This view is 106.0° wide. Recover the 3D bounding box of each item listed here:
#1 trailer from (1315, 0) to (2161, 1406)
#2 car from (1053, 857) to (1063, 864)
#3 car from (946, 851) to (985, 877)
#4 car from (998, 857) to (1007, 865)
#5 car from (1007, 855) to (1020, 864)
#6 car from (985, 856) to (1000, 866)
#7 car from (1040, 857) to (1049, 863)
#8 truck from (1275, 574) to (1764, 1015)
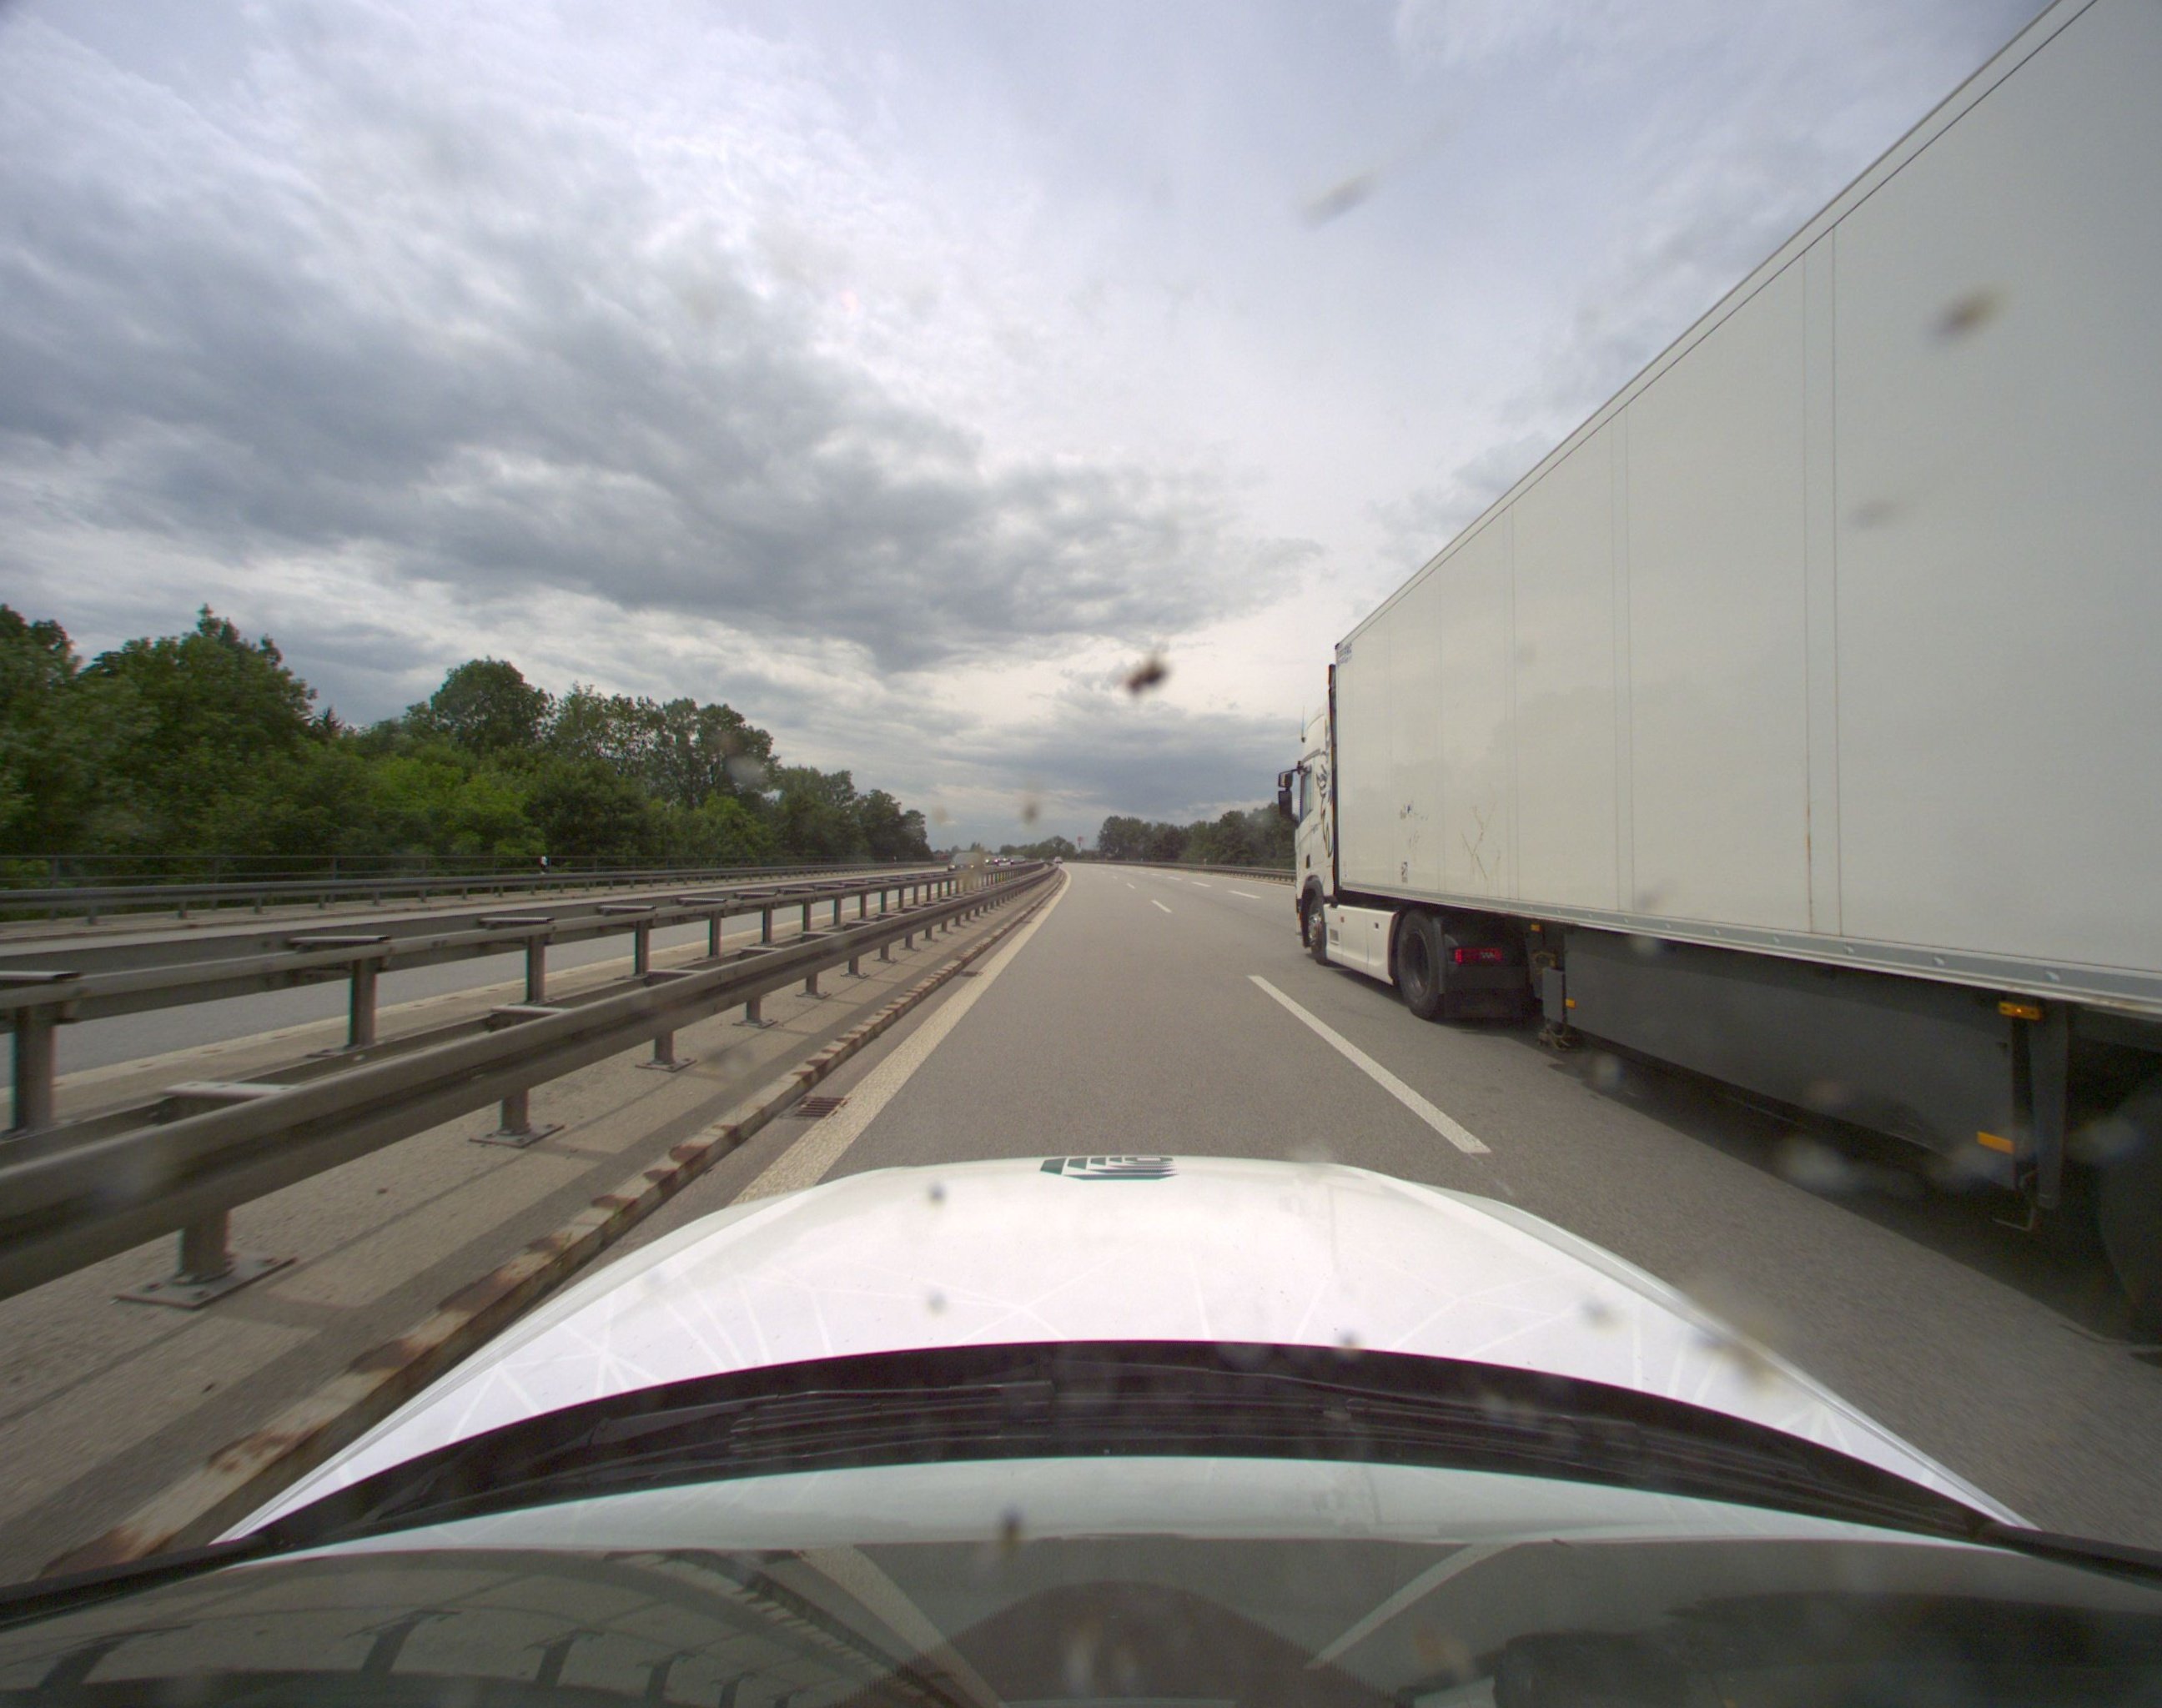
[{"bbox_3d":[4.342,-0.539,3.655,3.050,3.890,13.796,0,0,2],"label":"trailer"},{"bbox_3d":[-5.509,1.517,198.117,1.901,1.640,4.382,1,-1,-9],"label":"car"},{"bbox_3d":[-6.681,0.555,47.549,1.680,1.376,4.357,-1,0,0],"label":"car"},{"bbox_3d":[-16.503,1.370,171.555,1.648,1.541,3.993,3,0,-5],"label":"car"},{"bbox_3d":[-9.721,0.776,117.149,1.647,1.367,4.144,0,0,-2],"label":"car"},{"bbox_3d":[-12.856,0.948,118.709,1.733,1.410,4.938,0,0,-2],"label":"car"},{"bbox_3d":[-10.759,1.844,240.145,1.894,1.640,4.603,0,0,-12],"label":"car"},{"bbox_3d":[4.587,-0.525,10.217,3.050,3.892,6.002,0,0,2],"label":"truck"}]
